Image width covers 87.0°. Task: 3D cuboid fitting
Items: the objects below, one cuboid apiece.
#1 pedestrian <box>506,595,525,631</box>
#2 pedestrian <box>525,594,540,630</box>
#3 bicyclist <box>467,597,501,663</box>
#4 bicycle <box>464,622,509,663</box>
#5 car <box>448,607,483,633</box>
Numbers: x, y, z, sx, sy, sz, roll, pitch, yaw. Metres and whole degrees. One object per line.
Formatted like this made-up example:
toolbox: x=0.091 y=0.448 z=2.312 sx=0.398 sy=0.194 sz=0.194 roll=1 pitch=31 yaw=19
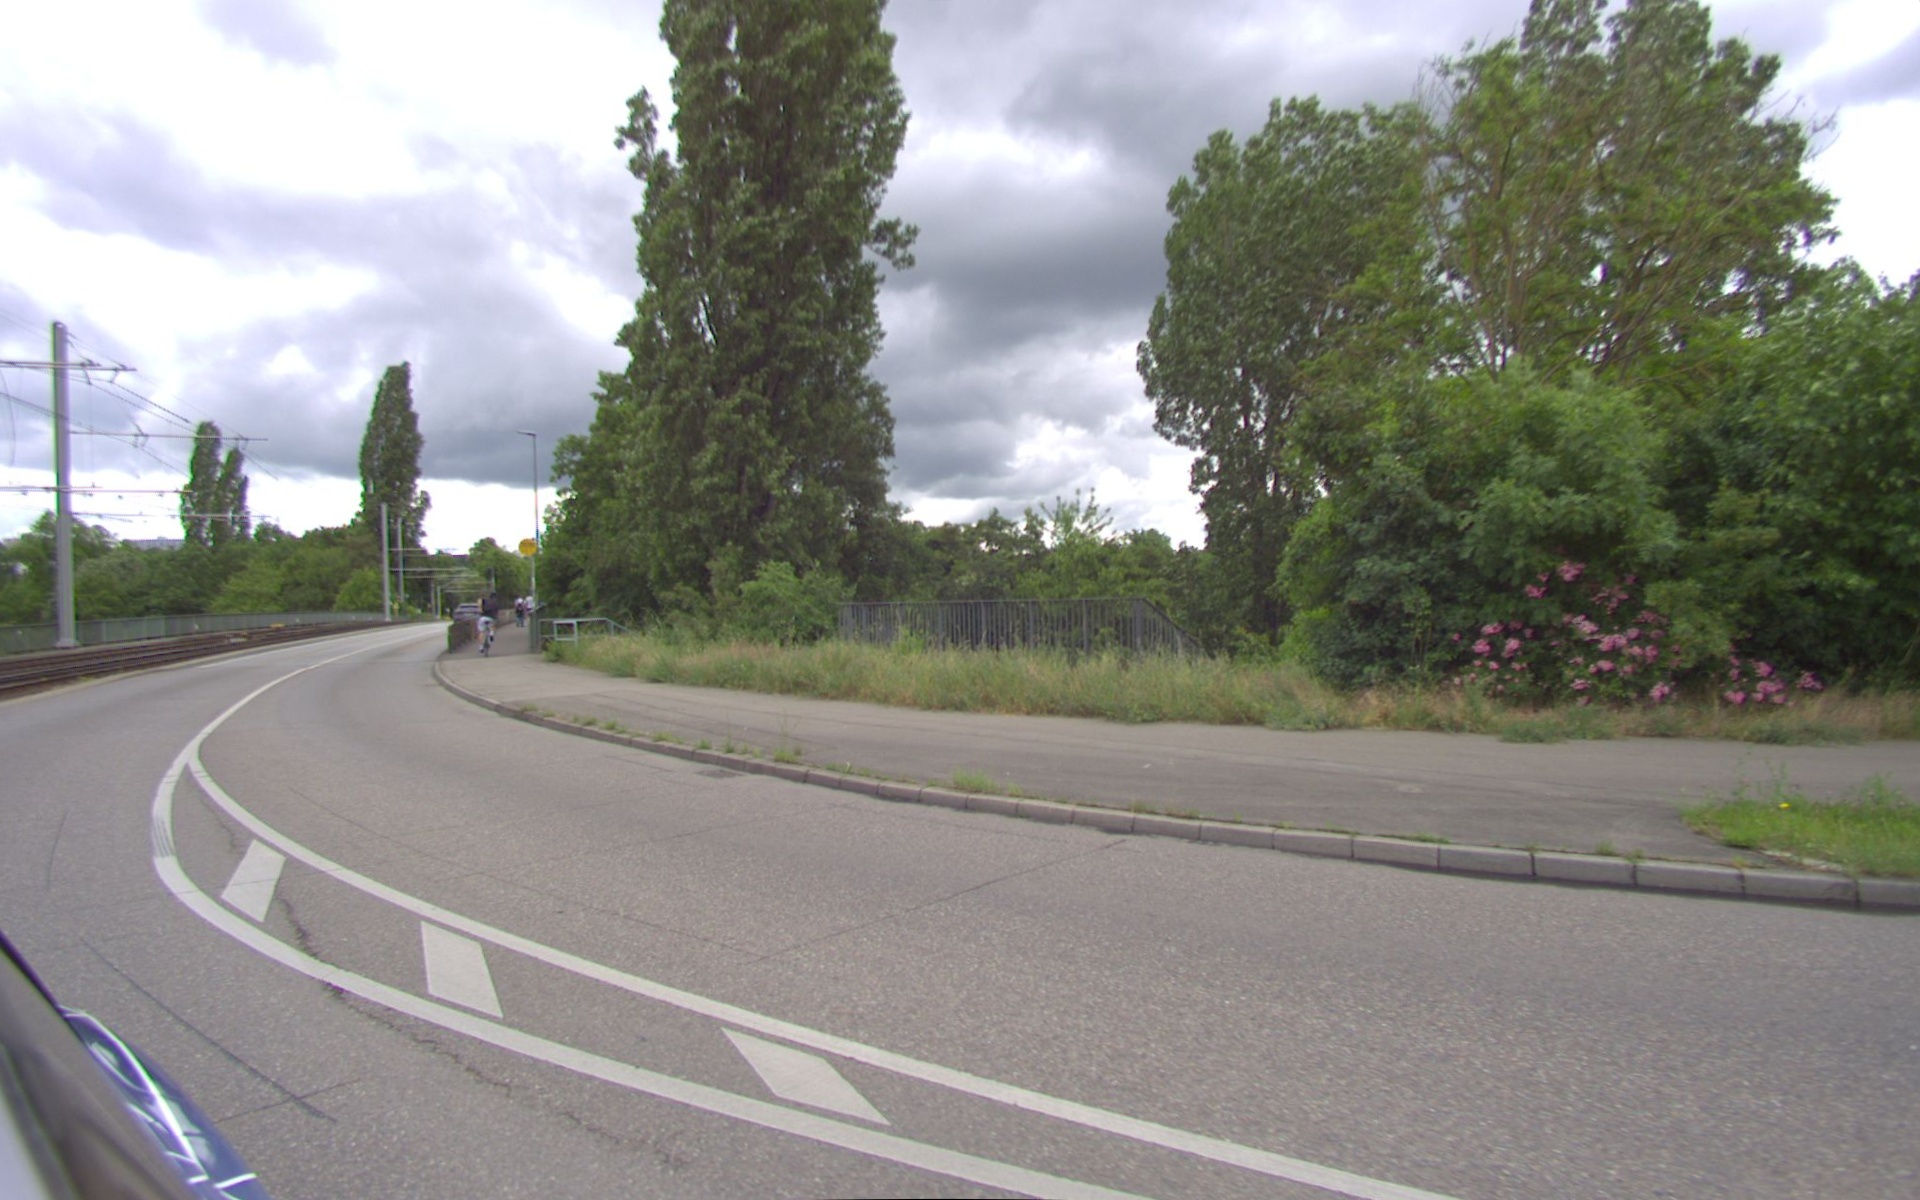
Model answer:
pedestrian: x=-23.166 y=0.660 z=52.716 sx=0.769 sy=1.841 sz=0.728 roll=-3 pitch=1 yaw=-20
pedestrian: x=-22.215 y=0.610 z=52.596 sx=0.596 sy=1.841 sz=0.558 roll=-2 pitch=1 yaw=-20
bicyclist: x=-13.700 y=0.847 z=29.109 sx=0.619 sy=1.822 sz=0.903 roll=-3 pitch=2 yaw=-38
bicycle: x=-13.600 y=1.207 z=29.039 sx=0.726 sy=1.080 sz=1.885 roll=-3 pitch=1 yaw=-37
car: x=-29.928 y=1.182 z=61.347 sx=1.692 sy=1.479 sz=3.954 roll=1 pitch=0 yaw=-23
